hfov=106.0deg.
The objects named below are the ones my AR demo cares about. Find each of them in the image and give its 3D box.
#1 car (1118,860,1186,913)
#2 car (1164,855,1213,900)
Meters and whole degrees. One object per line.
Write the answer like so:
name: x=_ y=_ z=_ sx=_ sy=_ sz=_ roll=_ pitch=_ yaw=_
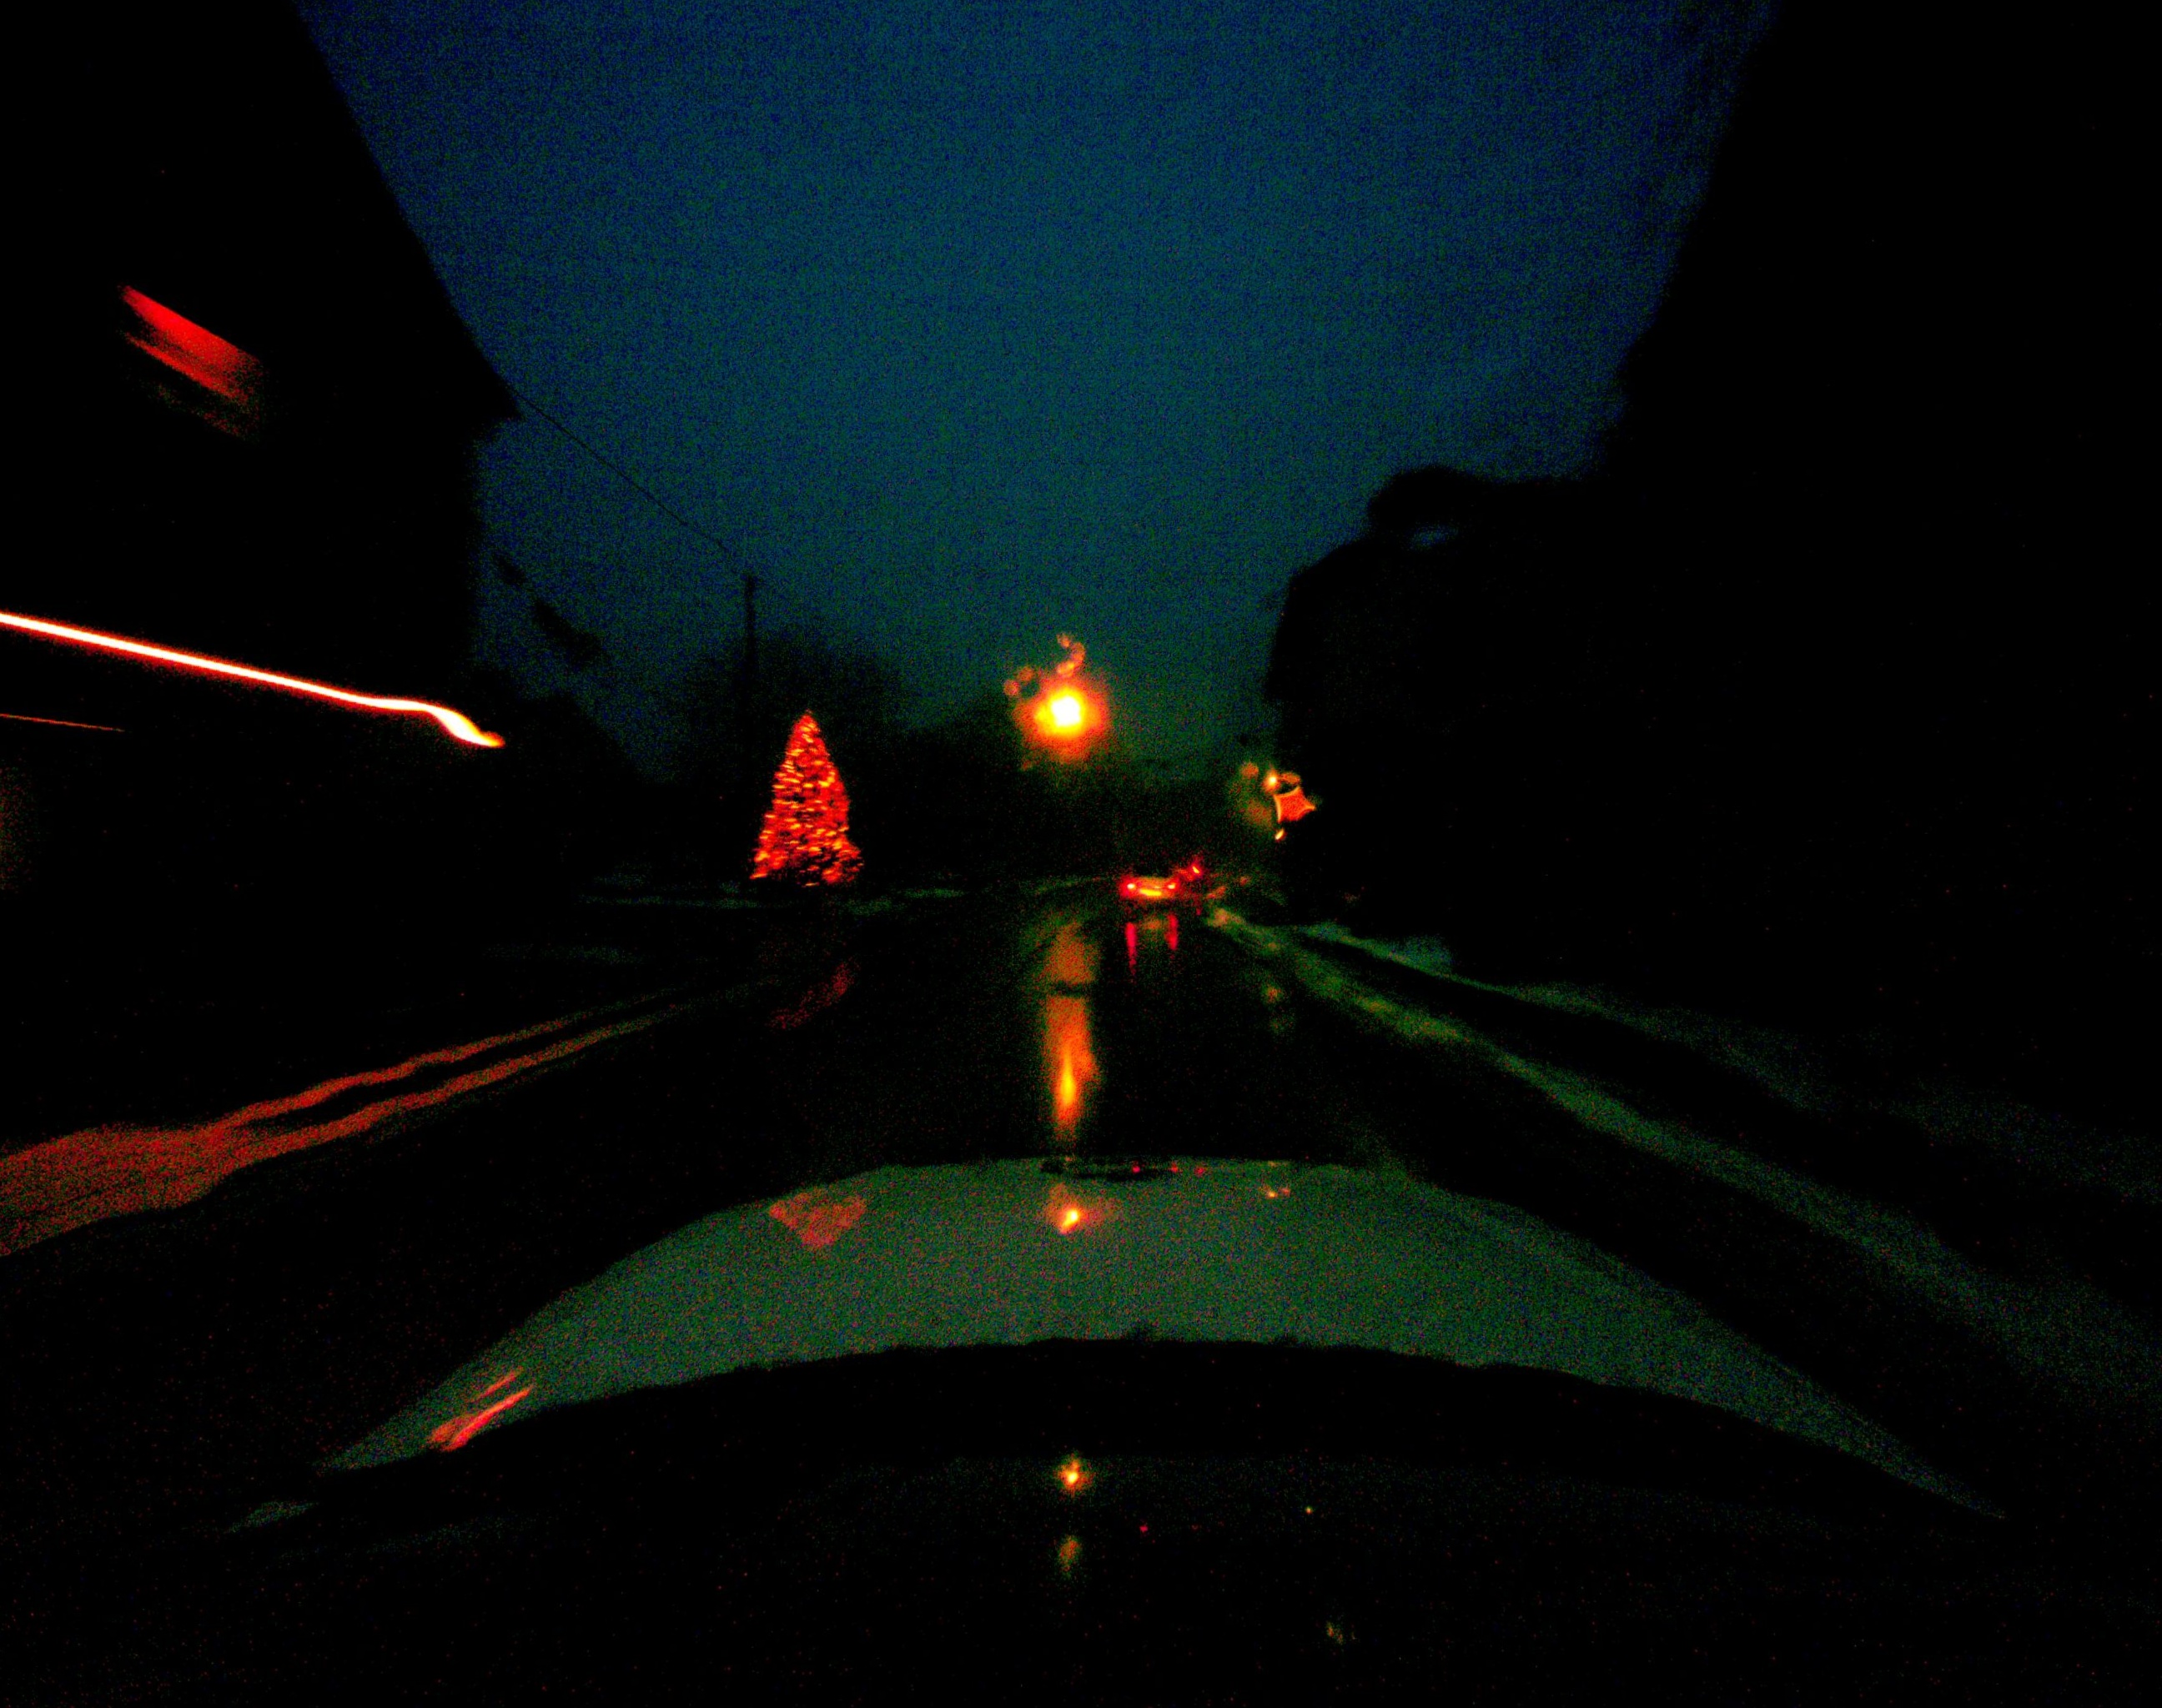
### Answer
car: x=2.344 y=1.077 z=26.563 sx=1.983 sy=1.508 sz=4.005 roll=3 pitch=-3 yaw=6
car: x=5.393 y=1.196 z=40.359 sx=1.980 sy=2.014 sz=4.013 roll=2 pitch=-3 yaw=13
